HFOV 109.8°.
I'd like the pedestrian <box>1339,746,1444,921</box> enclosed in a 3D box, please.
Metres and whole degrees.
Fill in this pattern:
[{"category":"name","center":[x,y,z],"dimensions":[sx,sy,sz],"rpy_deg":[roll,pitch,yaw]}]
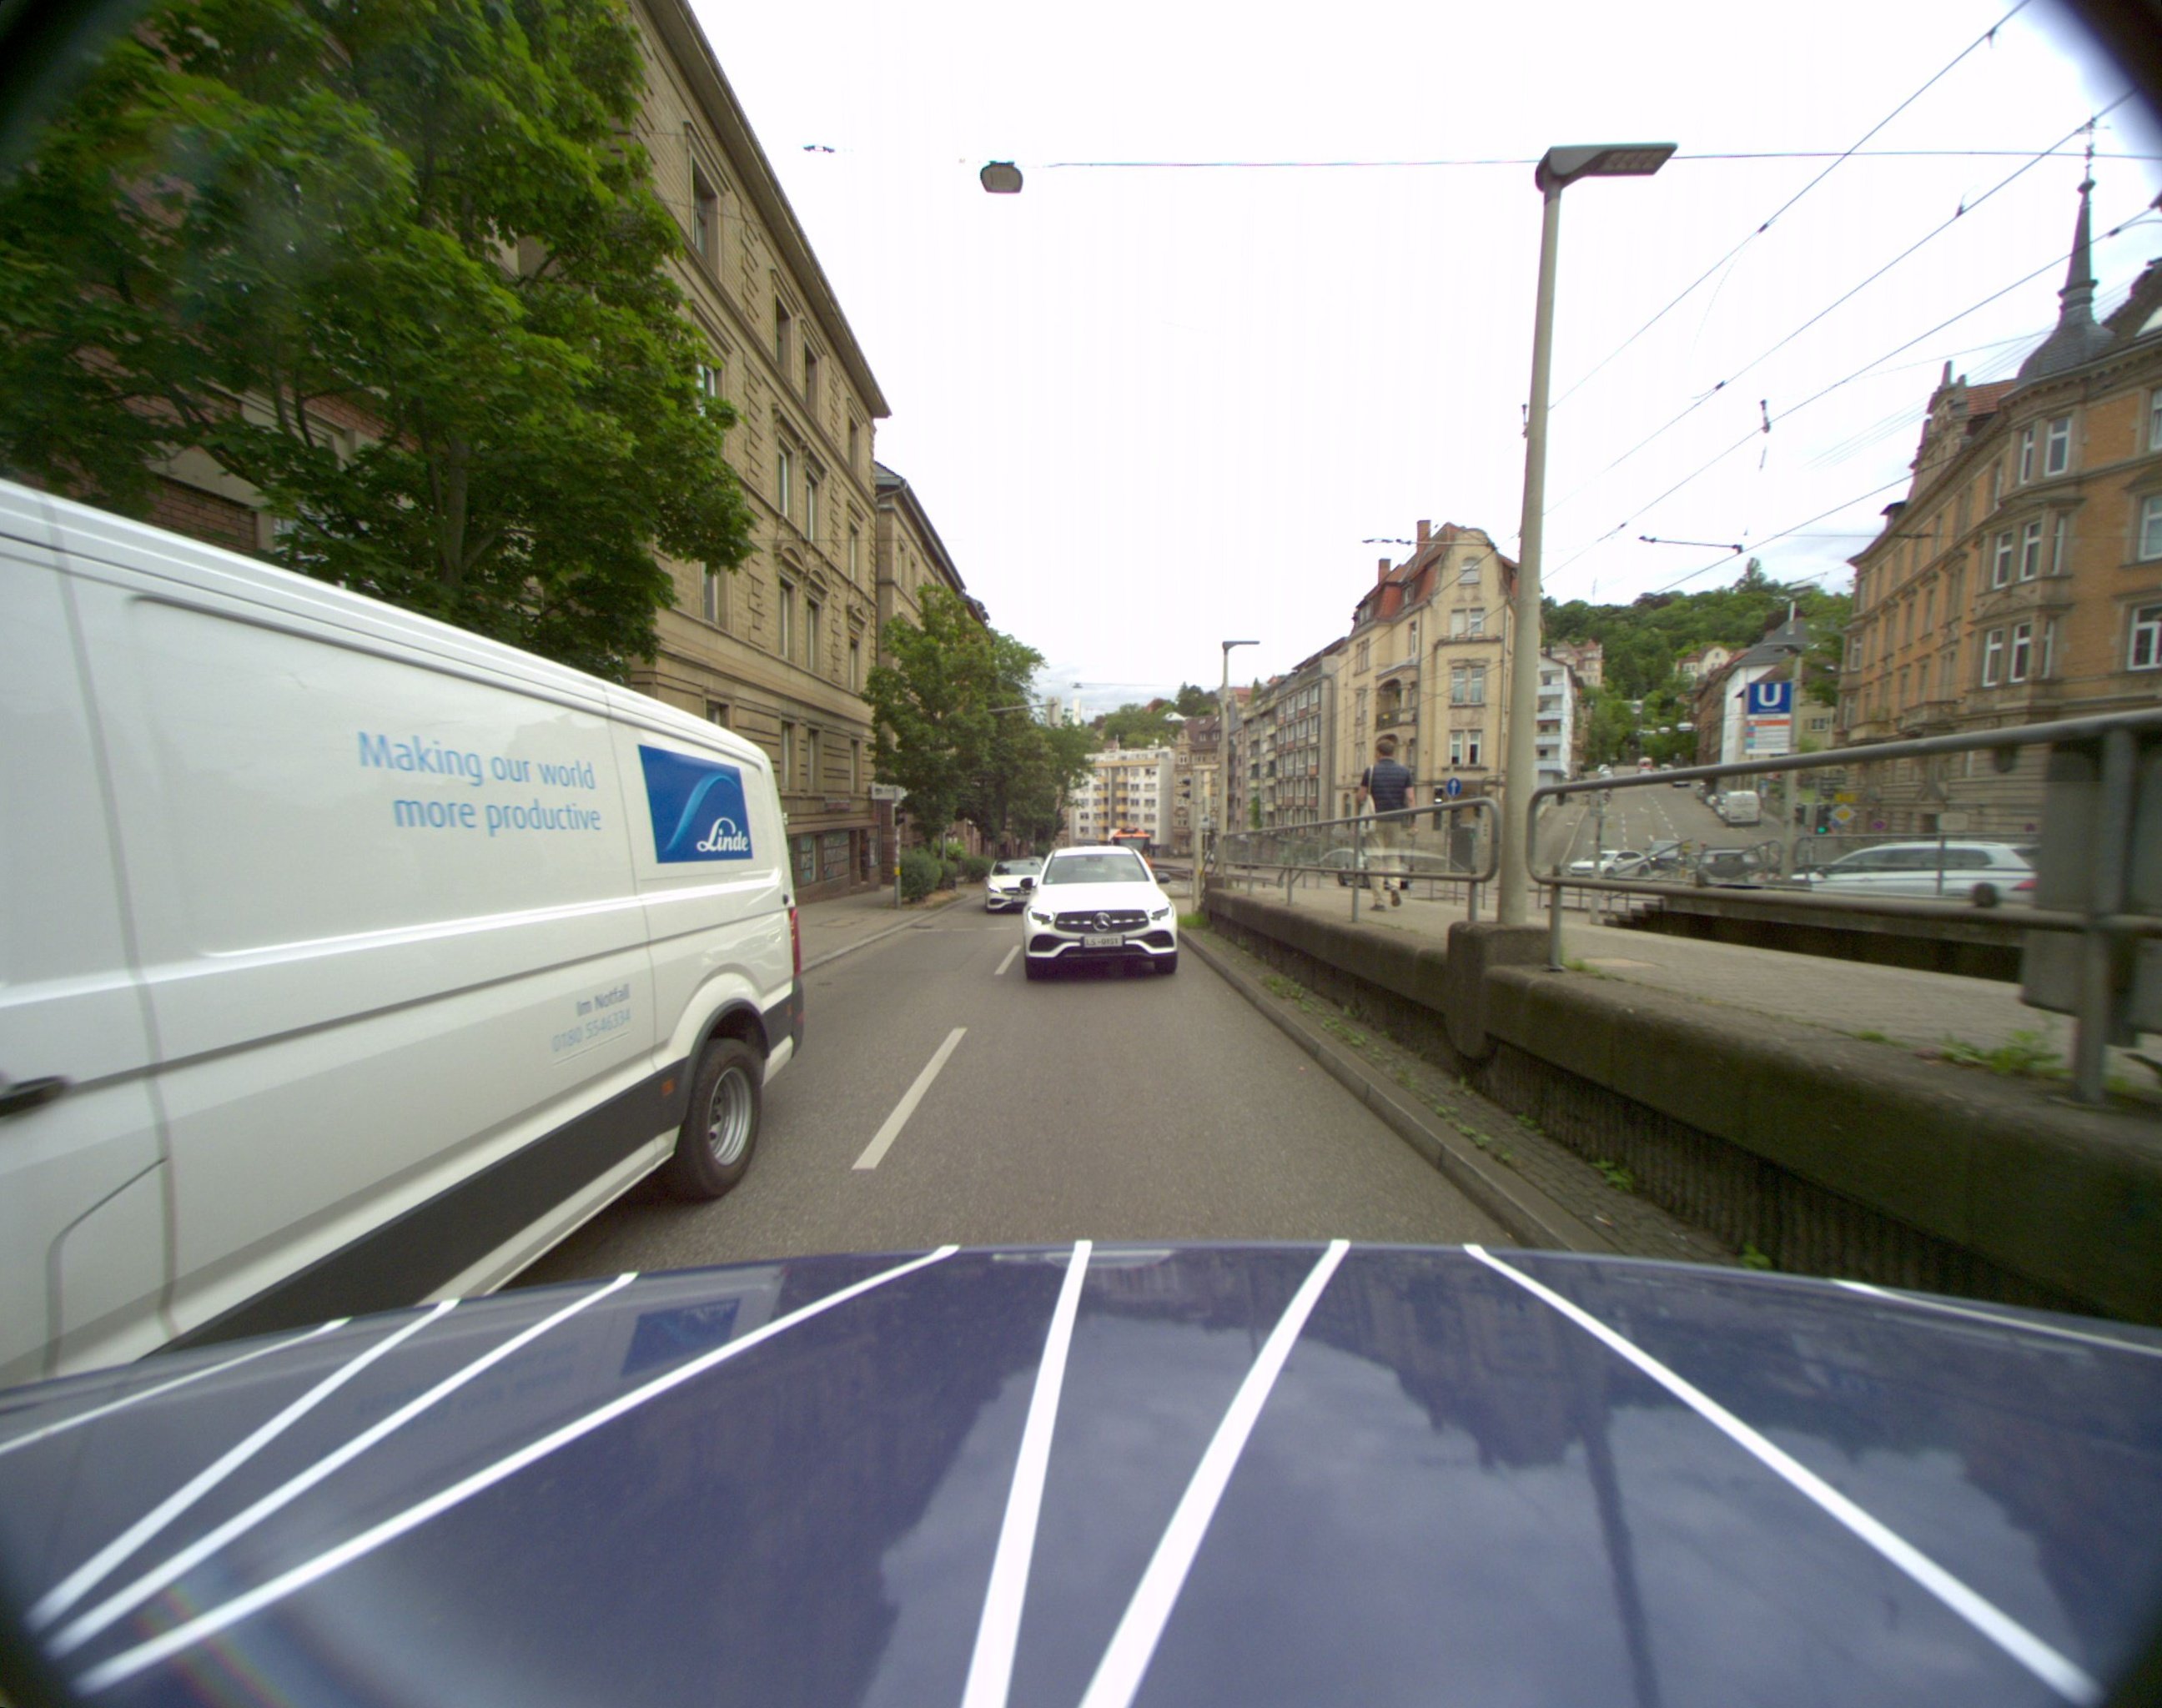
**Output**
[{"category":"pedestrian","center":[3.150,-0.200,7.784],"dimensions":[0.767,1.705,0.766],"rpy_deg":[0,1,1]}]

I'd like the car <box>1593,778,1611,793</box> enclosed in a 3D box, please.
[{"category":"car","center":[68.340,-9.008,99.669],"dimensions":[1.938,1.630,4.004],"rpy_deg":[0,7,35]}]

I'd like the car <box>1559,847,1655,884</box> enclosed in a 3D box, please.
[{"category":"car","center":[25.503,0.502,36.839],"dimensions":[4.004,1.700,1.996],"rpy_deg":[0,1,-23]}]

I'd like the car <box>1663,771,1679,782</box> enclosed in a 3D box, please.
[{"category":"car","center":[84.836,-11.153,109.281],"dimensions":[1.642,1.453,3.312],"rpy_deg":[0,7,35]}]

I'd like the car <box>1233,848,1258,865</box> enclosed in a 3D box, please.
[{"category":"car","center":[17.964,0.261,83.081],"dimensions":[1.850,1.772,4.381],"rpy_deg":[0,0,2]}]

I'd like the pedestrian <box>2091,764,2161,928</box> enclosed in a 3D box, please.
[{"category":"pedestrian","center":[11.432,-0.084,7.879],"dimensions":[0.767,1.679,0.843],"rpy_deg":[0,1,1]}]

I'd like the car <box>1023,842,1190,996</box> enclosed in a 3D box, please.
[{"category":"car","center":[0.281,0.703,10.909],"dimensions":[1.840,1.657,4.669],"rpy_deg":[-2,1,0]}]

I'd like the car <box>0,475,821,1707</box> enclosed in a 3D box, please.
[{"category":"car","center":[-2.801,0.567,1.782],"dimensions":[2.263,2.274,5.967],"rpy_deg":[-1,0,0]}]

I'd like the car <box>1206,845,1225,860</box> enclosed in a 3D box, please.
[{"category":"car","center":[18.071,-0.195,102.434],"dimensions":[1.850,1.963,4.050],"rpy_deg":[0,0,0]}]

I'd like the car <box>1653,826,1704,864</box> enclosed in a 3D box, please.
[{"category":"car","center":[32.796,-0.530,41.804],"dimensions":[1.994,1.667,4.005],"rpy_deg":[0,6,35]}]

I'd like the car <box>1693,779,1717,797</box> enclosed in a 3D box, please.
[{"category":"car","center":[66.656,-7.059,81.166],"dimensions":[1.642,1.590,3.312],"rpy_deg":[0,7,35]}]

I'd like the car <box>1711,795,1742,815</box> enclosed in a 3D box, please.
[{"category":"car","center":[55.066,-4.189,64.858],"dimensions":[1.642,1.425,3.312],"rpy_deg":[0,7,35]}]

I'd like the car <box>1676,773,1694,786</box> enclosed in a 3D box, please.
[{"category":"car","center":[79.513,-9.808,100.019],"dimensions":[1.642,1.436,3.312],"rpy_deg":[0,7,35]}]

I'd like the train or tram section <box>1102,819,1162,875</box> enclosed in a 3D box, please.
[{"category":"train or tram section","center":[3.358,-0.454,54.031],"dimensions":[2.968,3.456,14.405],"rpy_deg":[0,0,-1]}]

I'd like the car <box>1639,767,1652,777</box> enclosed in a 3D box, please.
[{"category":"car","center":[93.634,-13.626,126.041],"dimensions":[1.642,1.453,3.312],"rpy_deg":[0,7,35]}]

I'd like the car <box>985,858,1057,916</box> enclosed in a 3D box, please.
[{"category":"car","center":[-1.705,0.841,21.329],"dimensions":[1.807,1.392,3.998],"rpy_deg":[-1,0,-5]}]

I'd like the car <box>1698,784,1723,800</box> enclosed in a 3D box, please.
[{"category":"car","center":[63.521,-6.270,76.738],"dimensions":[1.642,1.425,3.312],"rpy_deg":[0,7,35]}]

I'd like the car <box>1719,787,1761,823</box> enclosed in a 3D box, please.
[{"category":"car","center":[51.615,-3.856,59.568],"dimensions":[1.994,2.465,4.004],"rpy_deg":[0,7,35]}]

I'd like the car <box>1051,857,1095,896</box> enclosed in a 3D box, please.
[{"category":"car","center":[-0.326,0.938,33.071],"dimensions":[1.806,1.542,4.000],"rpy_deg":[-1,0,0]}]

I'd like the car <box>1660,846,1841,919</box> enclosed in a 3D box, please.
[{"category":"car","center":[17.617,0.663,20.301],"dimensions":[1.848,1.724,4.385],"rpy_deg":[0,0,15]}]

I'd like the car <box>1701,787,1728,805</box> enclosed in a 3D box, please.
[{"category":"car","center":[60.872,-5.586,73.031],"dimensions":[1.642,1.425,3.312],"rpy_deg":[0,7,35]}]

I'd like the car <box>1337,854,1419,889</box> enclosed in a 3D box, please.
[{"category":"car","center":[13.144,0.715,33.892],"dimensions":[1.850,1.438,4.379],"rpy_deg":[0,0,-1]}]

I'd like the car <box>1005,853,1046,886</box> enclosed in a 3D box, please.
[{"category":"car","center":[-2.653,0.721,37.194],"dimensions":[1.695,1.466,3.856],"rpy_deg":[0,1,0]}]

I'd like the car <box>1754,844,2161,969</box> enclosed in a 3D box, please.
[{"category":"car","center":[14.159,0.721,12.744],"dimensions":[1.850,1.724,4.380],"rpy_deg":[0,0,0]}]
